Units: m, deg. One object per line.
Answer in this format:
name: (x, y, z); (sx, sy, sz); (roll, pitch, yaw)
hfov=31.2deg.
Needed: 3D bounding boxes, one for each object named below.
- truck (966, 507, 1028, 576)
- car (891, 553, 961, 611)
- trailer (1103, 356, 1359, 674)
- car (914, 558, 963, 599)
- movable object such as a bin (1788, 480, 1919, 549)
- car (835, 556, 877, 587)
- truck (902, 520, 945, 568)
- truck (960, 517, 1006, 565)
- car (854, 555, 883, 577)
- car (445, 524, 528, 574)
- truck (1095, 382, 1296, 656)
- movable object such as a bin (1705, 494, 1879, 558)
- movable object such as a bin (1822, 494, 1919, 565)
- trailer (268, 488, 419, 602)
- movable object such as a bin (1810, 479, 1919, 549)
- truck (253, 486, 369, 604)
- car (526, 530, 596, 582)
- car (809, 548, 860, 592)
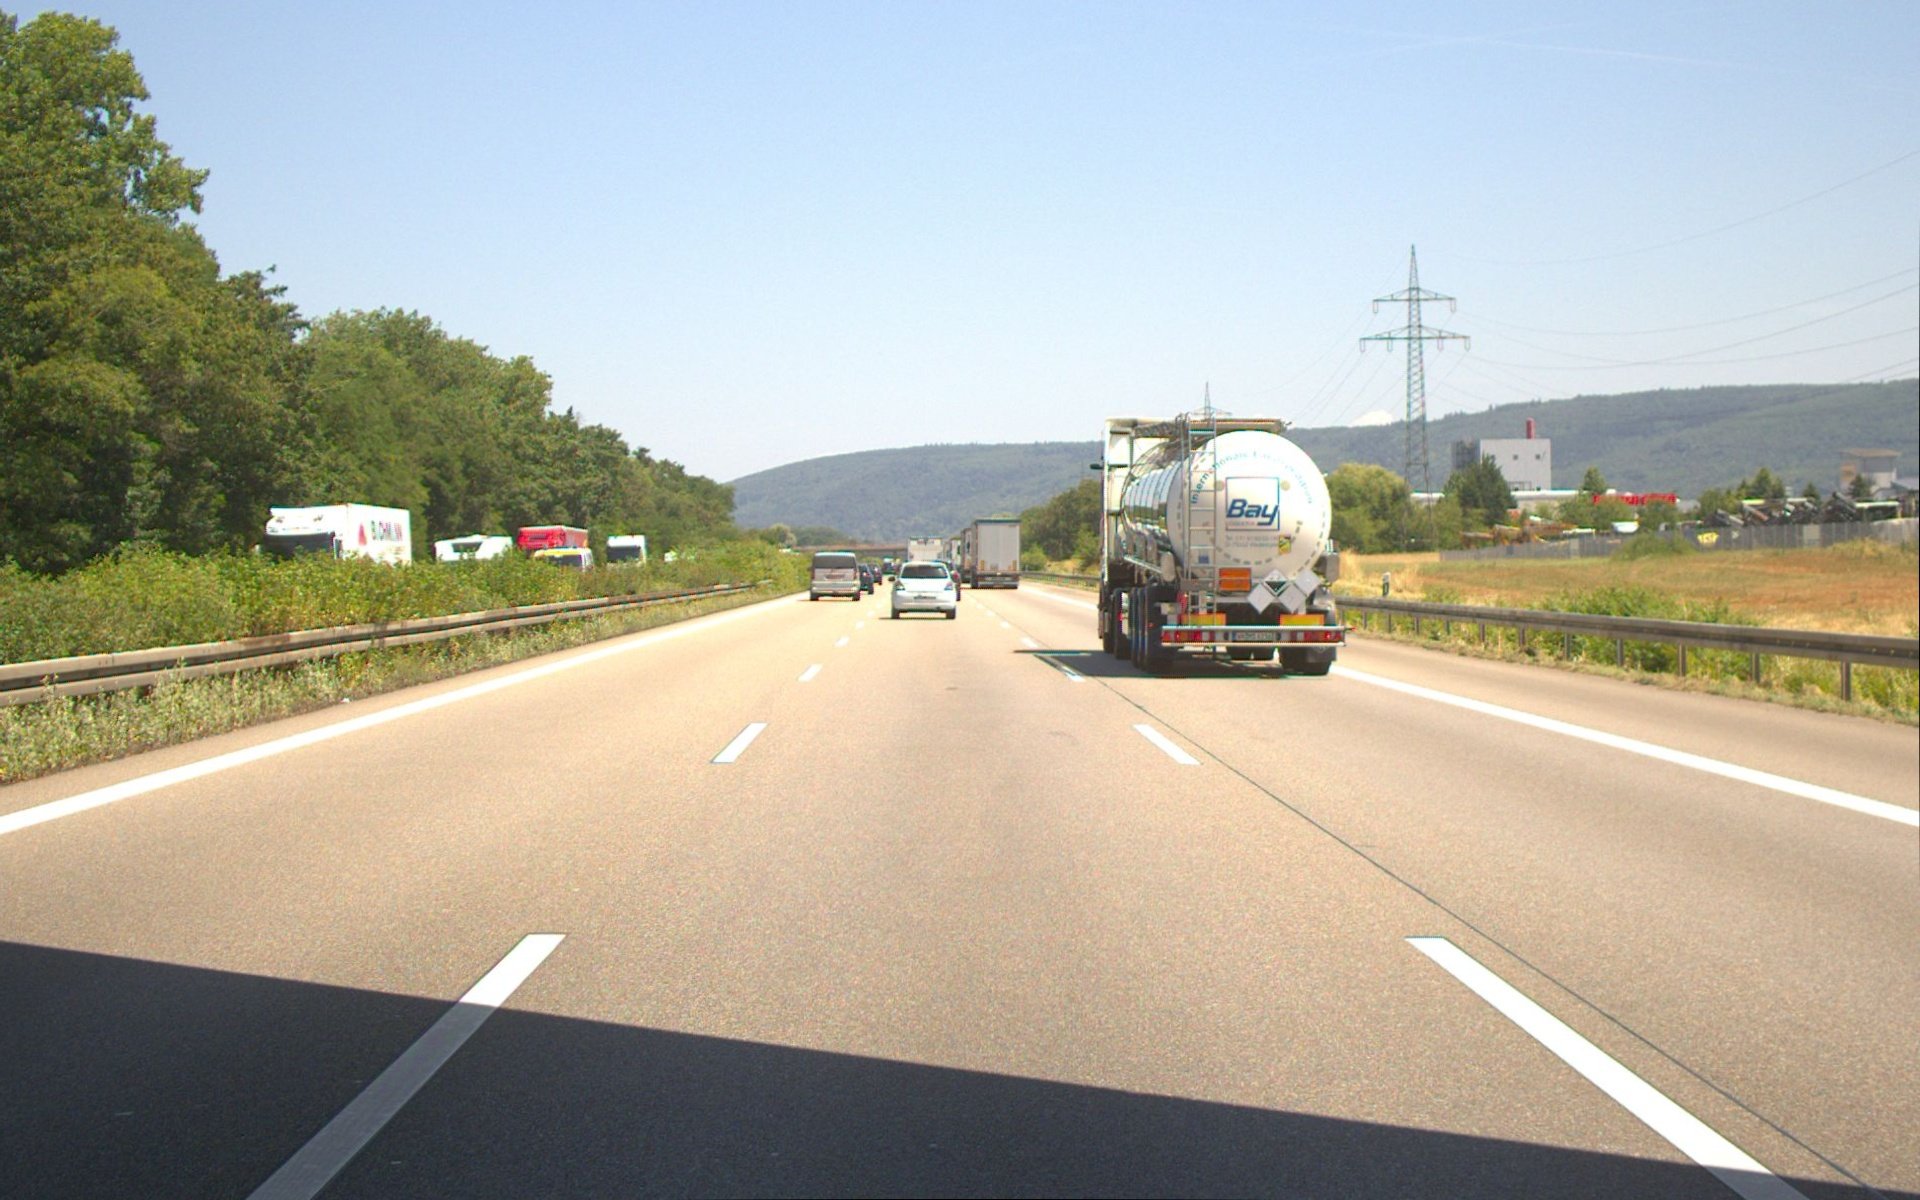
truck: (2.109, -3.417, 200.795); (3.265, 3.844, 11.632); (1, 1, -1)
car: (-0.912, -0.493, 91.918); (1.806, 1.463, 4.000); (1, 1, 0)
trailer: (3.730, -1.187, 49.914); (2.580, 4.060, 11.104); (1, 1, -1)
car: (-0.837, -0.862, 135.504); (1.885, 1.510, 4.000); (1, 1, 0)
movable object such as a bin: (53.218, -4.981, 199.121); (9.717, 3.676, 2.976); (-2, 1, 2)
car: (-4.898, -1.365, 162.190); (1.835, 1.382, 4.000); (1, 1, 0)
truck: (-2.789, -4.235, 259.305); (3.097, 3.463, 11.543); (1, 1, -1)
truck: (1.683, -4.389, 256.722); (3.097, 3.463, 11.543); (1, 1, -1)
car: (-6.114, -2.268, 229.380); (1.835, 1.382, 4.000); (1, 1, 0)
car: (-17.457, -1.888, 126.945); (2.302, 1.774, 5.424); (1, 1, 0)
truck: (3.646, -1.261, 54.657); (2.573, 4.058, 6.393); (1, 1, -1)
movable object such as a bin: (52.522, -4.667, 217.198); (10.253, 3.677, 2.394); (-2, 0, 0)
movable object such as a bin: (52.890, -3.968, 189.916); (9.718, 3.677, 3.418); (-2, 1, 6)
trailer: (-21.345, -1.912, 119.971); (2.825, 3.697, 13.929); (1, 1, -1)
movable object such as a bin: (53.064, -4.893, 193.452); (9.718, 3.677, 2.976); (-2, 0, 6)
truck: (-21.293, -1.807, 113.018); (2.795, 3.708, 5.117); (1, 1, 0)
car: (-14.151, -1.564, 122.160); (2.092, 1.774, 5.462); (1, 1, -3)
car: (-4.859, -1.170, 133.434); (1.852, 1.627, 4.000); (1, 1, 0)
